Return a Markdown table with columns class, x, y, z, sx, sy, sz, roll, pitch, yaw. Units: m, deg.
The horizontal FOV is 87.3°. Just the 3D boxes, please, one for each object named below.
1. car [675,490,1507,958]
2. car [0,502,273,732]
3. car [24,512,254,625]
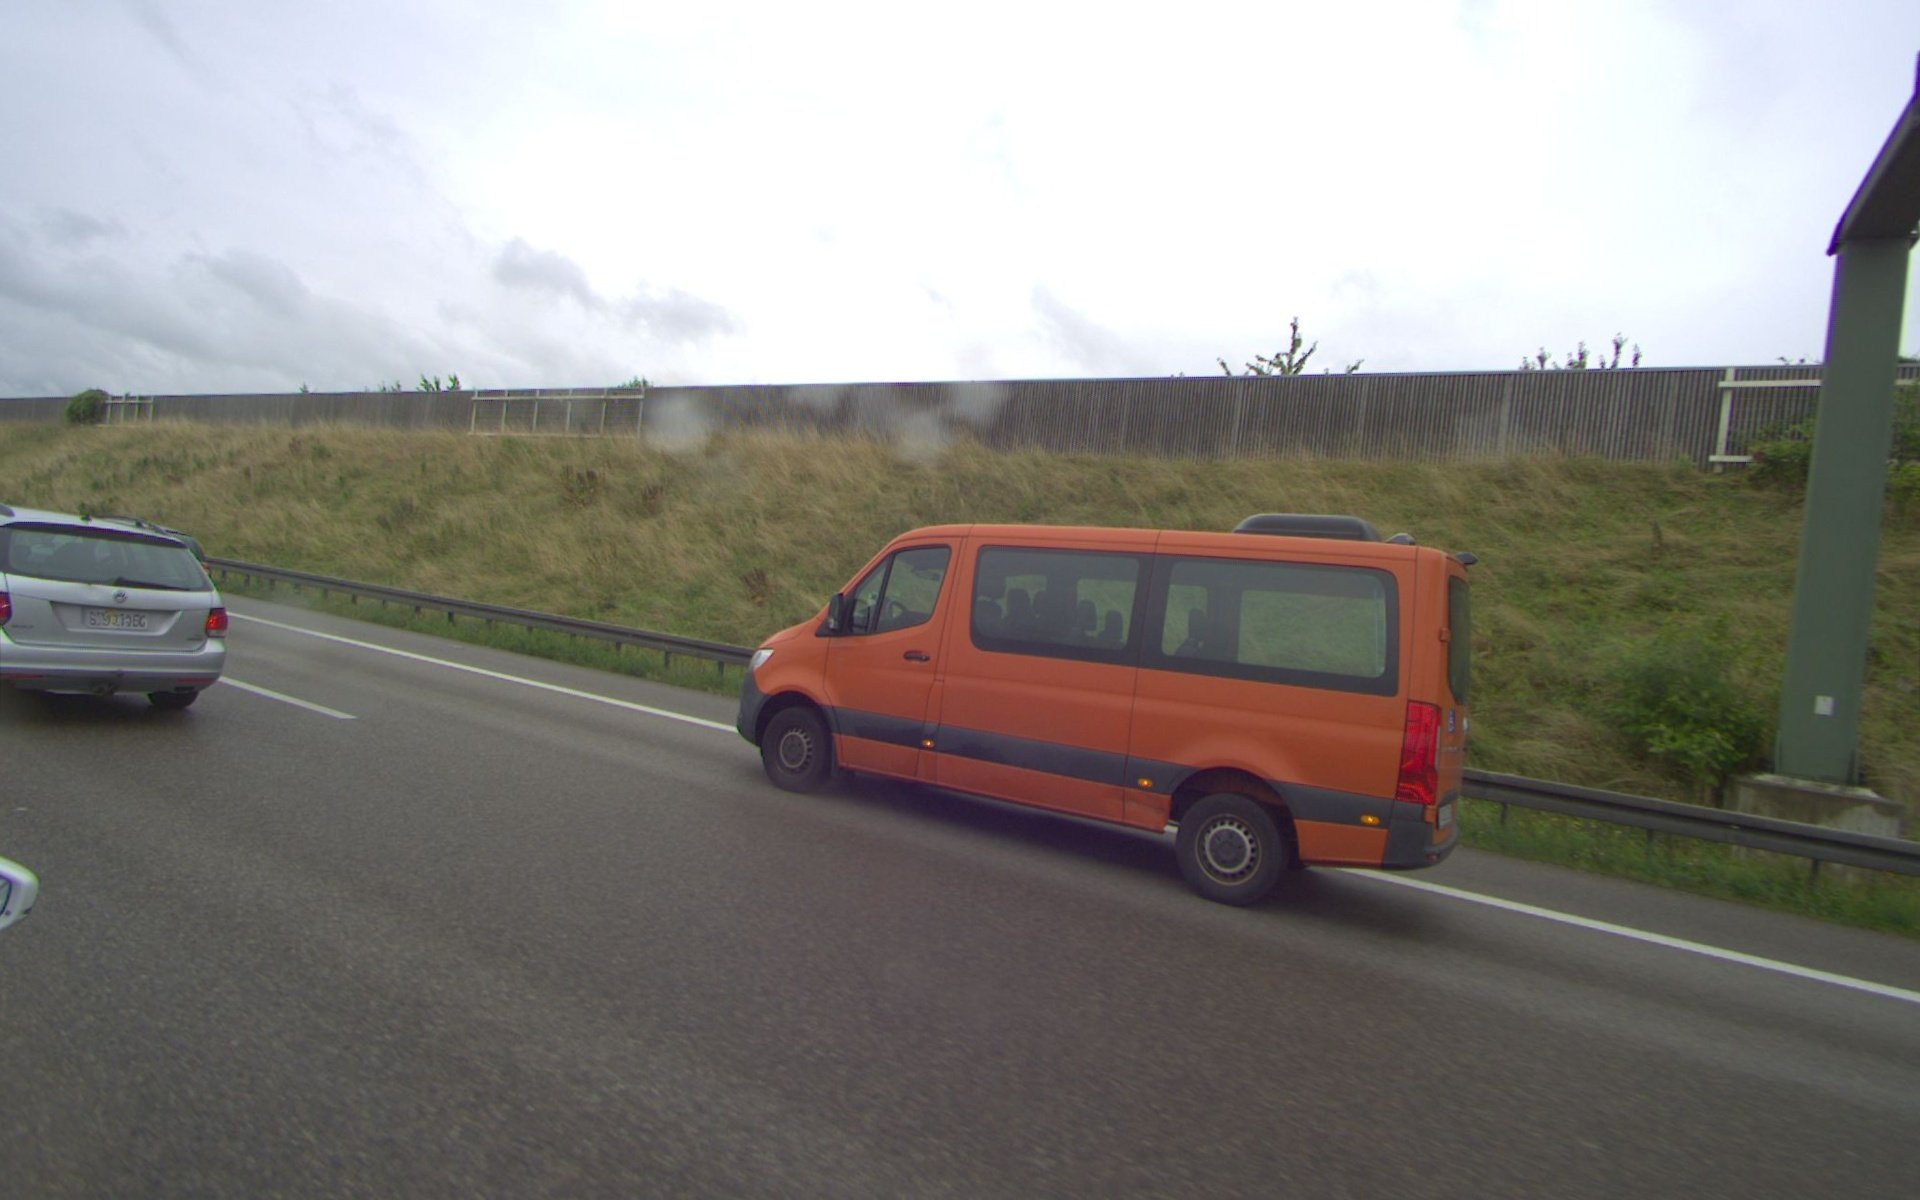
| class | x | y | z | sx | sy | sz | roll | pitch | yaw |
| --- | --- | --- | --- | --- | --- | --- | --- | --- | --- |
| car | 0.740 | 0.596 | 8.041 | 6.079 | 2.343 | 2.089 | 7 | -1 | 32 |
| car | -7.649 | -0.043 | 8.099 | 4.441 | 1.442 | 1.744 | 7 | 0 | 31 |
| car | -13.821 | -0.539 | 16.906 | 3.811 | 1.417 | 1.706 | 6 | -2 | 31 |
